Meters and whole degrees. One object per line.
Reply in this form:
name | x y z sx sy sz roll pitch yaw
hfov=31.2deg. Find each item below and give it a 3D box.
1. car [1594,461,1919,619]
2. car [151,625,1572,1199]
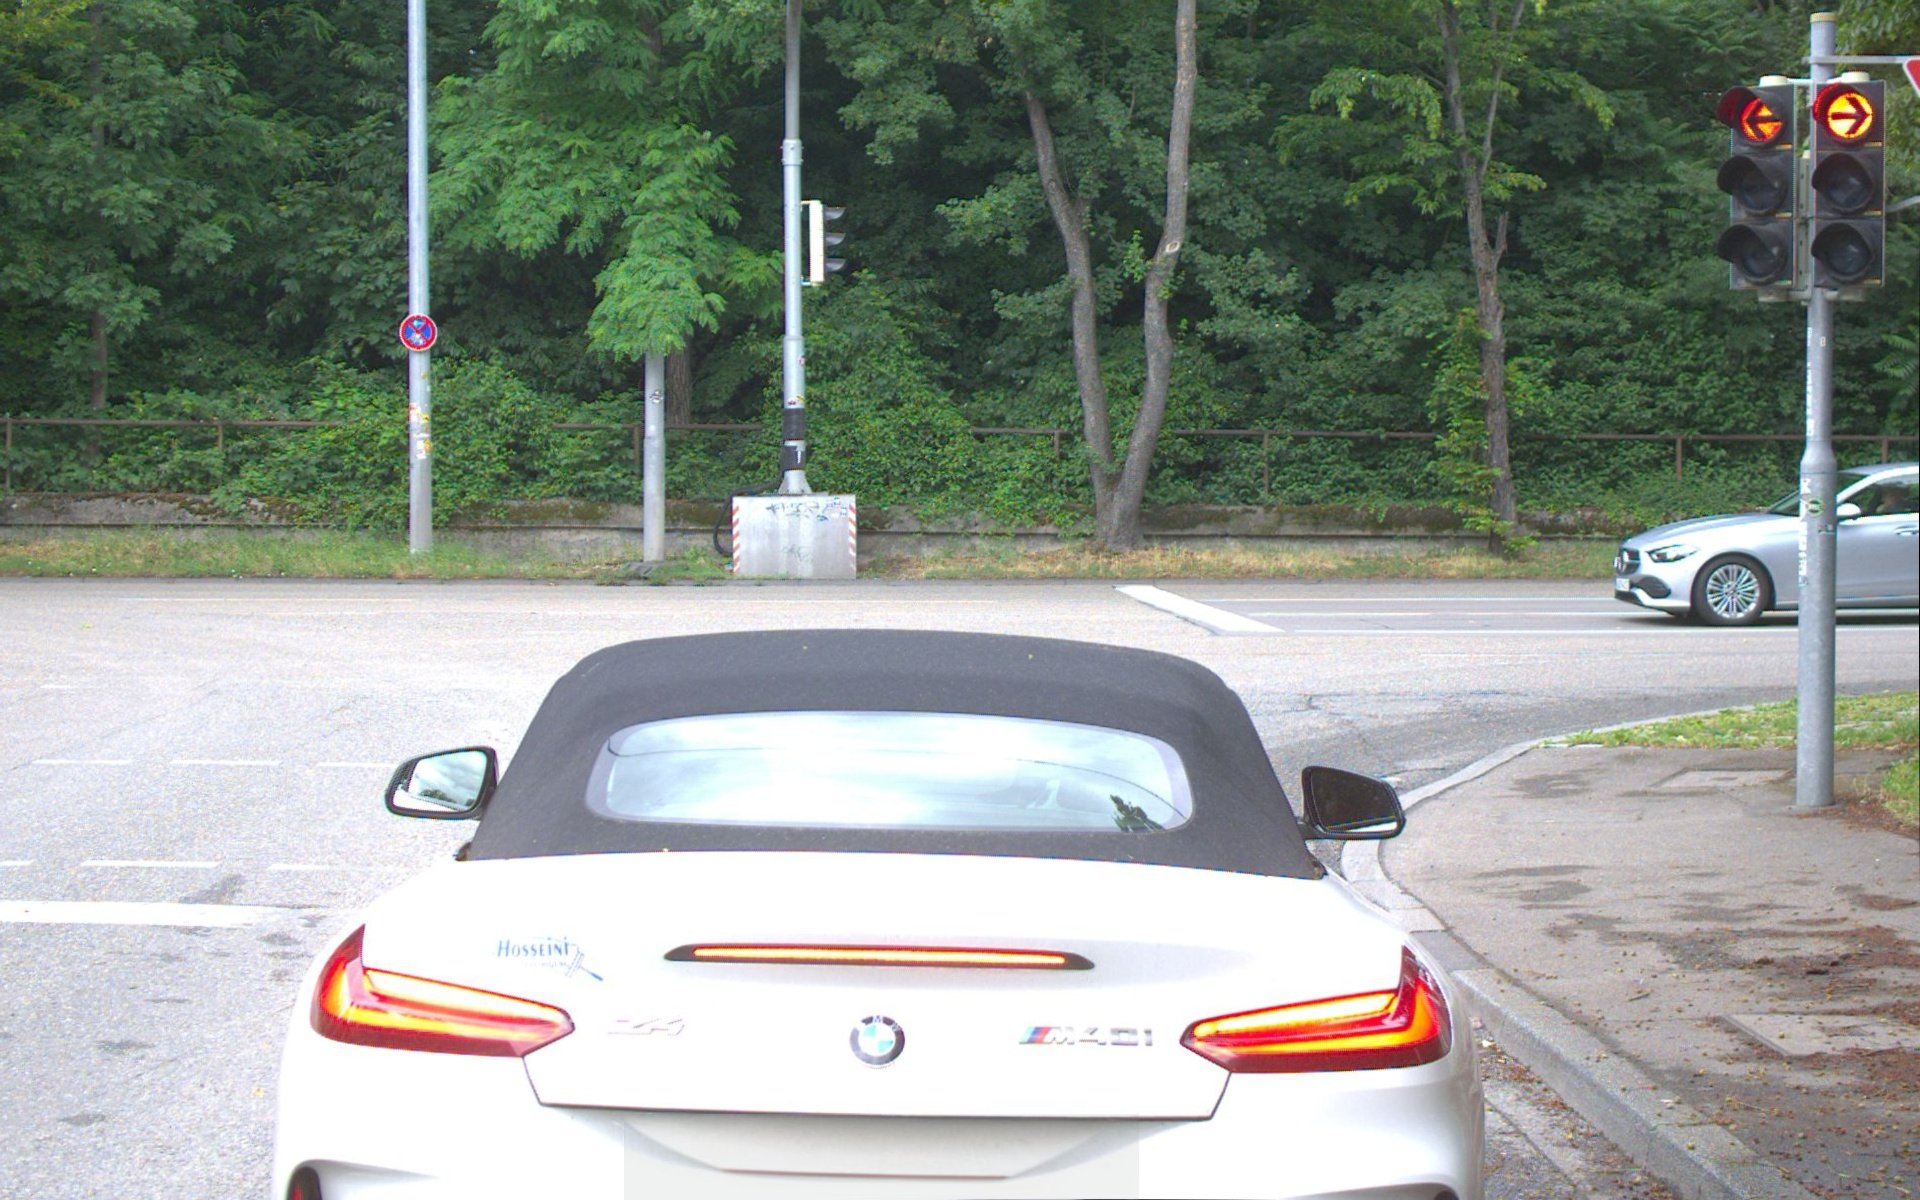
car | 8.312 -0.550 31.112 4.751 1.329 1.834 1 3 -2
car | -0.219 0.701 6.464 1.827 1.253 4.000 2 0 -3
